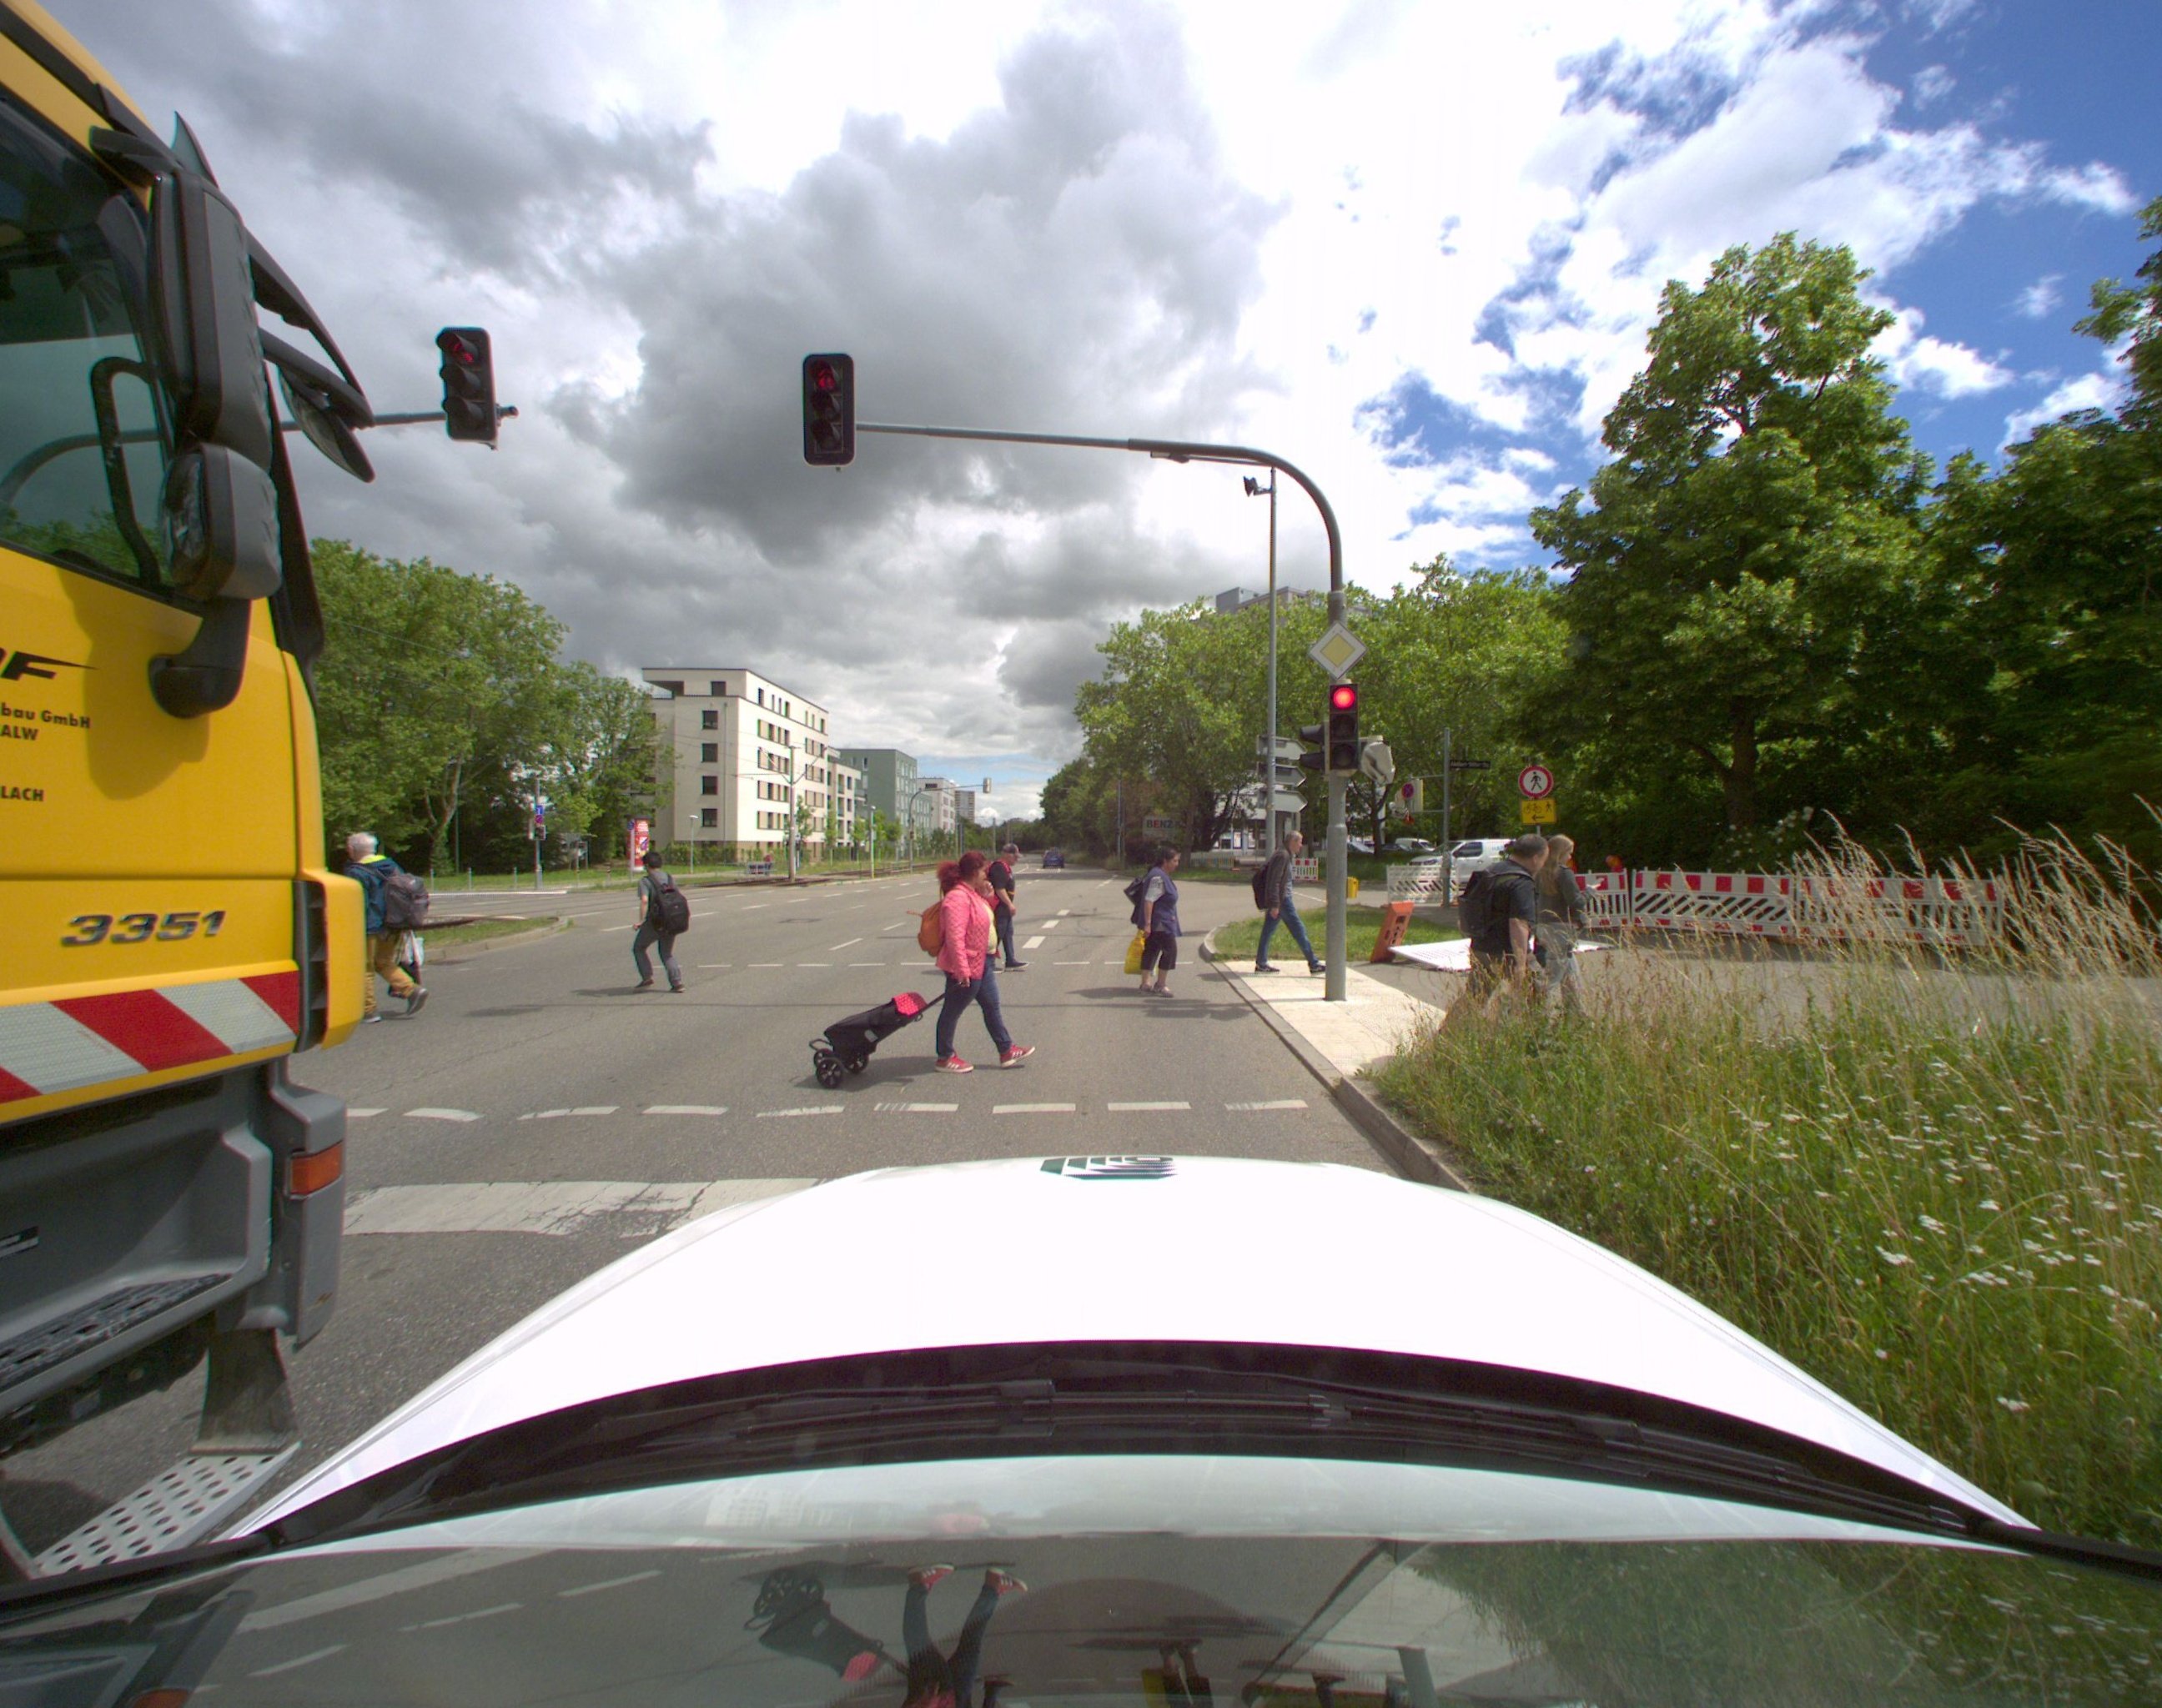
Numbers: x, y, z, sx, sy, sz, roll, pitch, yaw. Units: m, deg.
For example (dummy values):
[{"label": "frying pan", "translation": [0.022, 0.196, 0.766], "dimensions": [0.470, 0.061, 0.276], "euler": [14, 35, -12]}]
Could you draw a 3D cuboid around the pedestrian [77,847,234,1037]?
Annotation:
[{"label": "pedestrian", "translation": [-8.525, 0.755, 7.515], "dimensions": [0.815, 1.640, 0.737], "euler": [0, 0, 24]}]

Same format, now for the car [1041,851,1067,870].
[{"label": "car", "translation": [-2.218, 0.530, 66.720], "dimensions": [1.978, 1.486, 4.485], "euler": [-1, 0, -4]}]

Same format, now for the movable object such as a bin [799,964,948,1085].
[{"label": "movable object such as a bin", "translation": [-1.388, 1.140, 5.582], "dimensions": [0.792, 0.662, 0.778], "euler": [-1, 0, 2]}]

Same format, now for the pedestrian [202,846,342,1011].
[{"label": "pedestrian", "translation": [-8.523, 0.741, 8.599], "dimensions": [0.860, 1.634, 0.770], "euler": [-1, 0, 24]}]

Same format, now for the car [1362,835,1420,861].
[{"label": "car", "translation": [24.601, -0.492, 64.724], "dimensions": [2.006, 2.013, 3.962], "euler": [-1, 0, -29]}]

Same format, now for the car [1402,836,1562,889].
[{"label": "car", "translation": [14.917, 0.300, 30.449], "dimensions": [5.063, 1.874, 1.947], "euler": [-1, 0, -2]}]

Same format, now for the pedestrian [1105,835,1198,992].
[{"label": "pedestrian", "translation": [0.786, 0.607, 8.854], "dimensions": [0.907, 1.607, 0.932], "euler": [-1, 0, 9]}]

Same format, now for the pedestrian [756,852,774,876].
[{"label": "pedestrian", "translation": [-19.854, 0.616, 51.147], "dimensions": [0.827, 1.516, 0.636], "euler": [-1, 0, 1]}]

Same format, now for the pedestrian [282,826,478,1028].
[{"label": "pedestrian", "translation": [-6.563, 0.637, 7.692], "dimensions": [1.007, 1.774, 0.947], "euler": [-1, 0, -3]}]

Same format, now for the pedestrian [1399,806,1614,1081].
[{"label": "pedestrian", "translation": [2.738, 0.541, 5.353], "dimensions": [0.955, 1.648, 0.881], "euler": [-1, 0, 2]}]

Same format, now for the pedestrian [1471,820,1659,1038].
[{"label": "pedestrian", "translation": [3.891, 0.568, 6.645], "dimensions": [1.016, 1.648, 0.931], "euler": [-1, 0, 5]}]

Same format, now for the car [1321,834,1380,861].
[{"label": "car", "translation": [20.570, -0.485, 62.244], "dimensions": [2.006, 2.013, 3.962], "euler": [-1, 0, -29]}]

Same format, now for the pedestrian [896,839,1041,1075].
[{"label": "pedestrian", "translation": [-0.761, 0.679, 5.752], "dimensions": [0.877, 1.554, 0.747], "euler": [-1, 0, 2]}]

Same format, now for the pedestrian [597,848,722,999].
[{"label": "pedestrian", "translation": [-4.574, 0.715, 8.912], "dimensions": [0.945, 1.552, 0.842], "euler": [-1, 0, -6]}]

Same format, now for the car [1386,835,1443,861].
[{"label": "car", "translation": [27.316, -0.496, 66.858], "dimensions": [2.006, 2.013, 3.962], "euler": [-1, 0, -29]}]

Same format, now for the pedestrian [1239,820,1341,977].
[{"label": "pedestrian", "translation": [2.469, 0.502, 9.736], "dimensions": [0.998, 1.773, 0.930], "euler": [-1, 0, 2]}]

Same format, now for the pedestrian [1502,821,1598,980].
[{"label": "pedestrian", "translation": [5.407, 0.509, 9.438], "dimensions": [0.776, 1.743, 0.832], "euler": [0, 0, 16]}]

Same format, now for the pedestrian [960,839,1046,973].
[{"label": "pedestrian", "translation": [-0.959, 0.624, 10.247], "dimensions": [0.888, 1.596, 0.910], "euler": [-1, 0, 6]}]
